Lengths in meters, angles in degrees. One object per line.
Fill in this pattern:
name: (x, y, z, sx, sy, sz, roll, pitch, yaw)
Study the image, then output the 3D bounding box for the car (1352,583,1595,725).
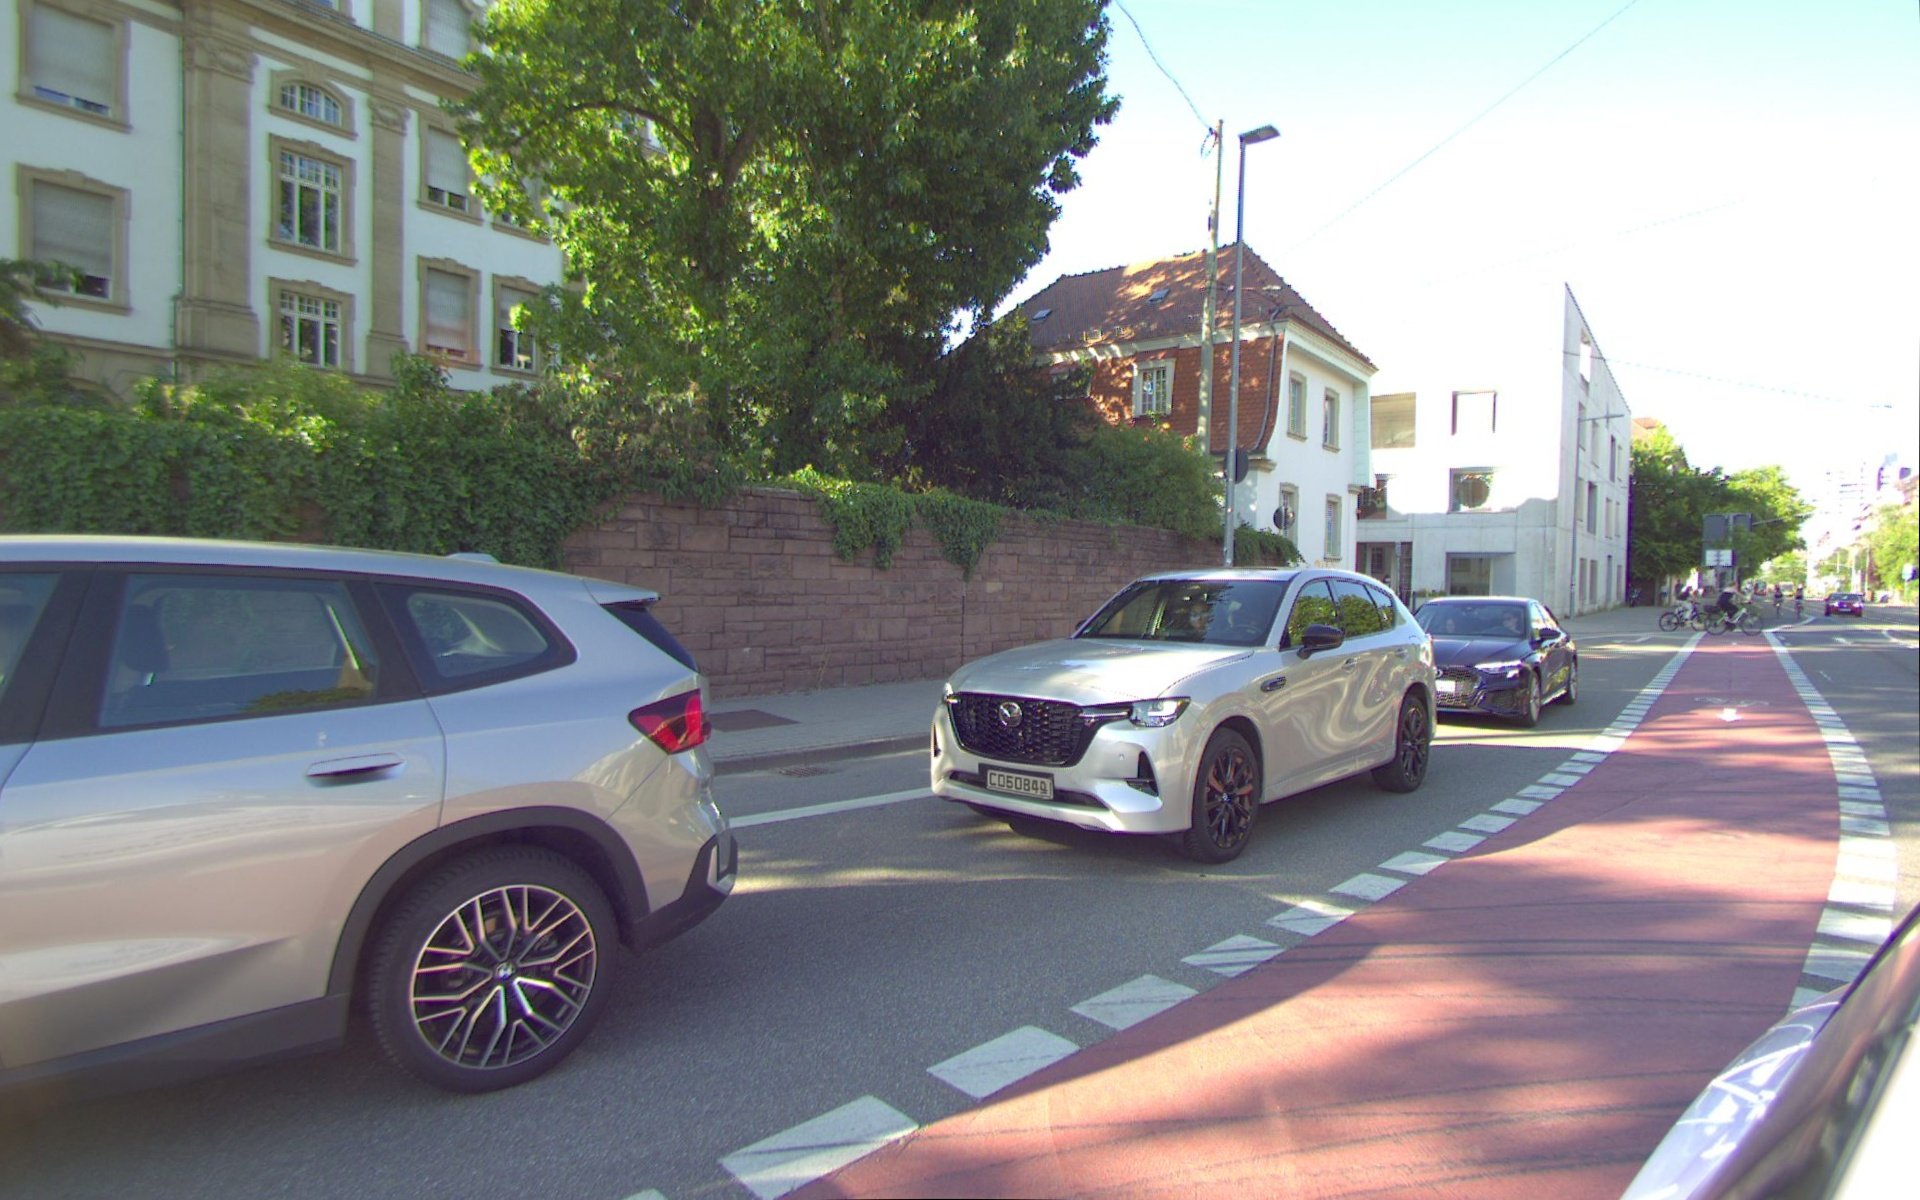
car: (6.413, 0.525, 12.436, 1.782, 1.451, 3.941, 0, 1, 41)

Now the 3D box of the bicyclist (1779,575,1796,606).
bicyclist: (45.480, -0.537, 55.637, 0.673, 1.667, 1.014, 2, 2, 40)

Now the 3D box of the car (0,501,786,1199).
car: (-2.831, 0.576, 2.955, 4.248, 1.614, 1.792, 0, 0, -36)

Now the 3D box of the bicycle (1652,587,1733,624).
bicycle: (27.027, 0.201, 37.365, 2.412, 1.266, 0.676, 1, 1, 3)

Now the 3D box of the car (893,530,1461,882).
car: (1.811, 0.491, 7.226, 1.940, 1.713, 4.460, 0, 1, 44)

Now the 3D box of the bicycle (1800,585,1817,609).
bicycle: (45.874, -0.179, 54.717, 0.673, 1.265, 2.421, 2, 2, 40)

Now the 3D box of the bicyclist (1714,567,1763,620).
bicyclist: (25.437, -0.225, 33.093, 1.013, 1.667, 0.673, 1, 1, 12)

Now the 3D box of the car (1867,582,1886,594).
car: (129.488, -1.713, 142.966, 1.640, 1.580, 3.602, 0, 0, 36)

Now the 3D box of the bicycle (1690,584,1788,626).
bicycle: (25.447, 0.159, 33.097, 2.419, 1.266, 0.674, 2, 1, 13)

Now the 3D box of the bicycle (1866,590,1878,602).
bicycle: (100.323, -0.409, 111.307, 2.414, 1.266, 0.675, 0, 1, -41)

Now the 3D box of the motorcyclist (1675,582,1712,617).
motorcyclist: (27.062, -0.018, 37.350, 0.838, 1.266, 0.676, 1, 1, 3)

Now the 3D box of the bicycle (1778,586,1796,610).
bicycle: (45.489, -0.149, 55.661, 0.673, 1.265, 2.421, 2, 2, 40)

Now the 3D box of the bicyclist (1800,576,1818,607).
bicyclist: (45.930, -0.479, 54.764, 0.673, 1.667, 1.014, 2, 2, 40)

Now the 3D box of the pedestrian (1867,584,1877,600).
pedestrian: (100.334, -0.873, 111.307, 0.803, 1.668, 0.675, 0, 1, -41)

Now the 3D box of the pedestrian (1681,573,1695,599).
pedestrian: (47.043, -0.932, 65.379, 0.673, 1.668, 0.806, 1, 1, 40)

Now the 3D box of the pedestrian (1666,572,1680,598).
pedestrian: (46.383, -0.994, 65.839, 0.673, 1.668, 0.806, 1, 1, 40)

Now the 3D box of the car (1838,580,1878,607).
car: (53.387, -0.400, 60.149, 1.644, 1.580, 3.593, 0, 0, 44)
